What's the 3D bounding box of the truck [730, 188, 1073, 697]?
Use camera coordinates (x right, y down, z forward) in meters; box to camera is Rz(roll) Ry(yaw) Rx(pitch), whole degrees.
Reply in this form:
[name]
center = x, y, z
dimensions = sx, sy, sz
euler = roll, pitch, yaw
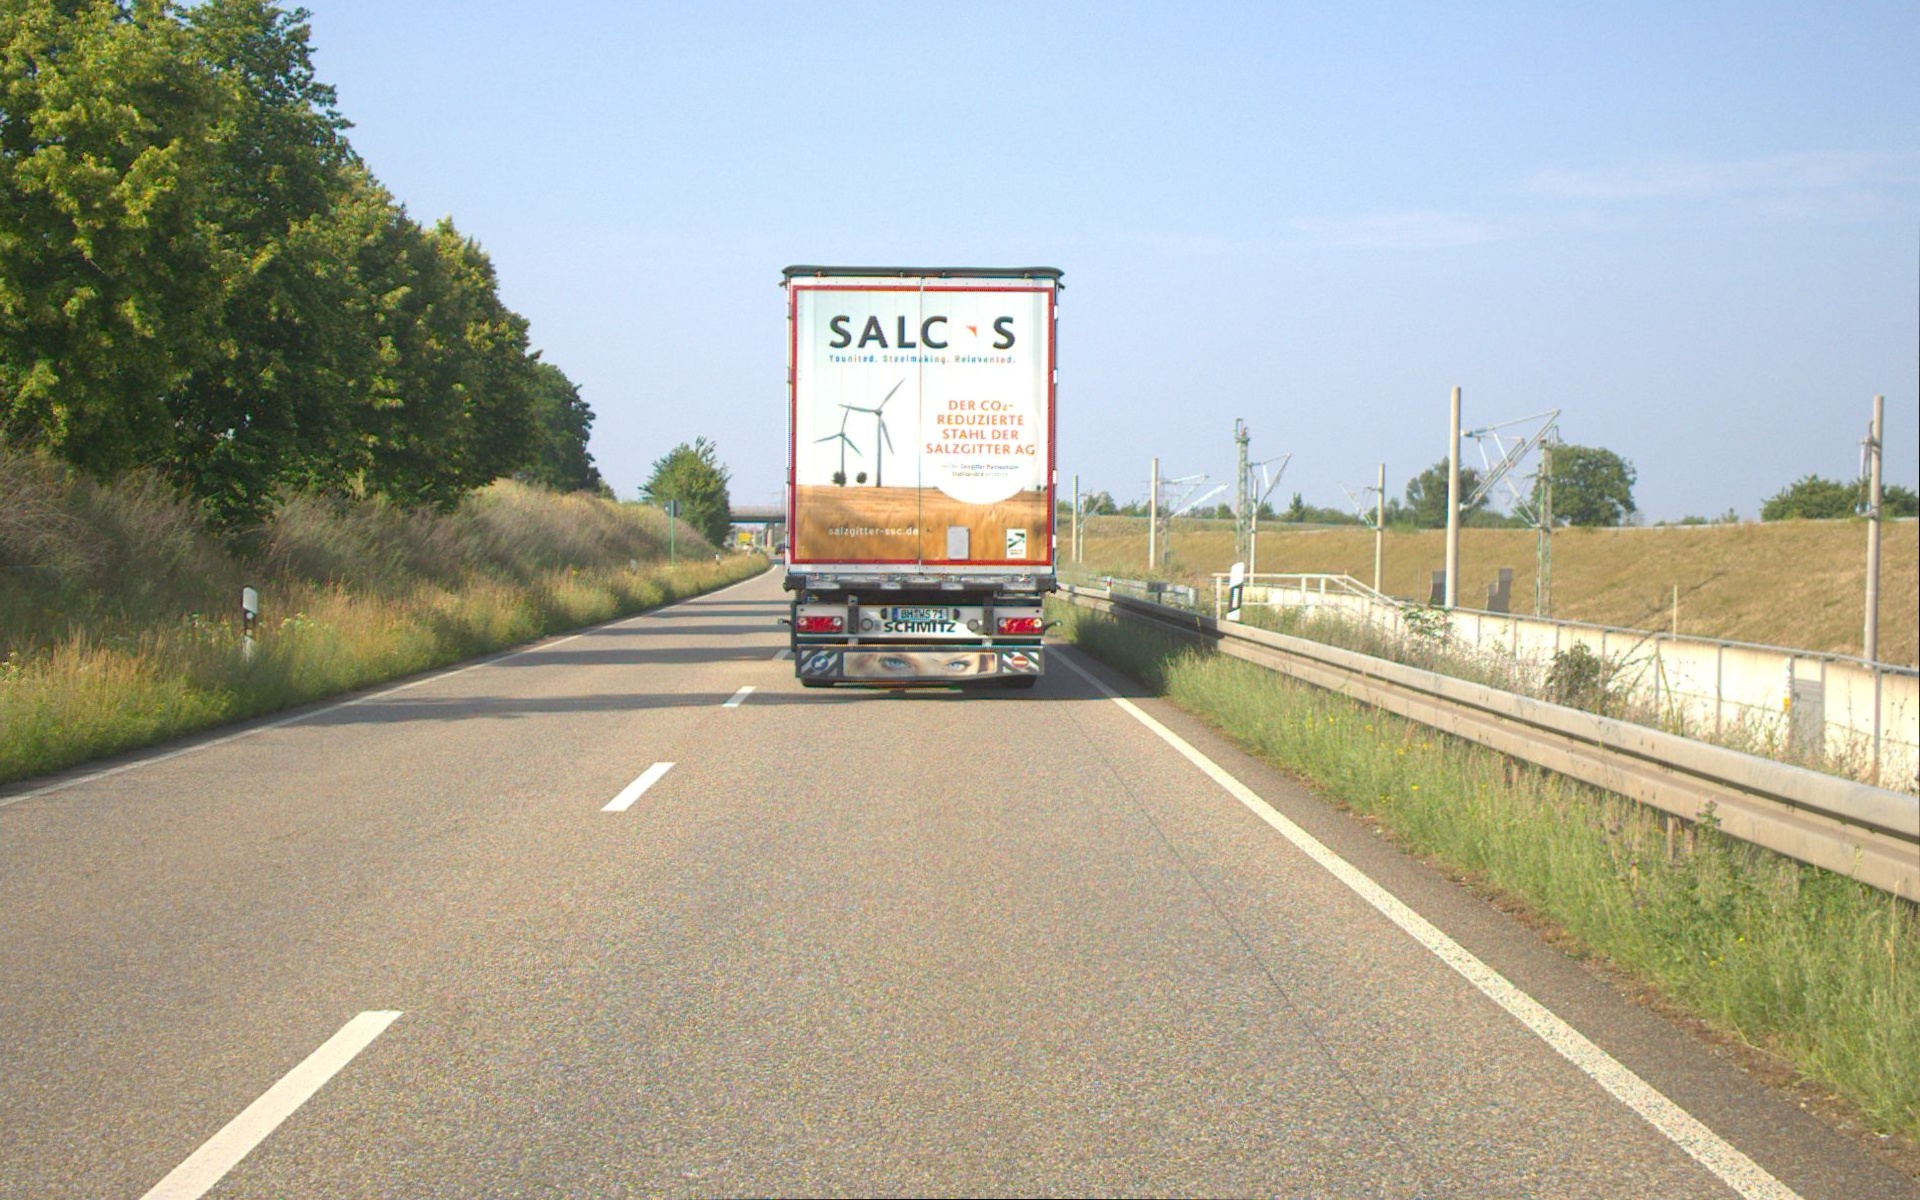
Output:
[truck]
center = -0.509, -1.546, 35.859
dimensions = 3.153, 4.672, 8.442
euler = 0, 1, 0
